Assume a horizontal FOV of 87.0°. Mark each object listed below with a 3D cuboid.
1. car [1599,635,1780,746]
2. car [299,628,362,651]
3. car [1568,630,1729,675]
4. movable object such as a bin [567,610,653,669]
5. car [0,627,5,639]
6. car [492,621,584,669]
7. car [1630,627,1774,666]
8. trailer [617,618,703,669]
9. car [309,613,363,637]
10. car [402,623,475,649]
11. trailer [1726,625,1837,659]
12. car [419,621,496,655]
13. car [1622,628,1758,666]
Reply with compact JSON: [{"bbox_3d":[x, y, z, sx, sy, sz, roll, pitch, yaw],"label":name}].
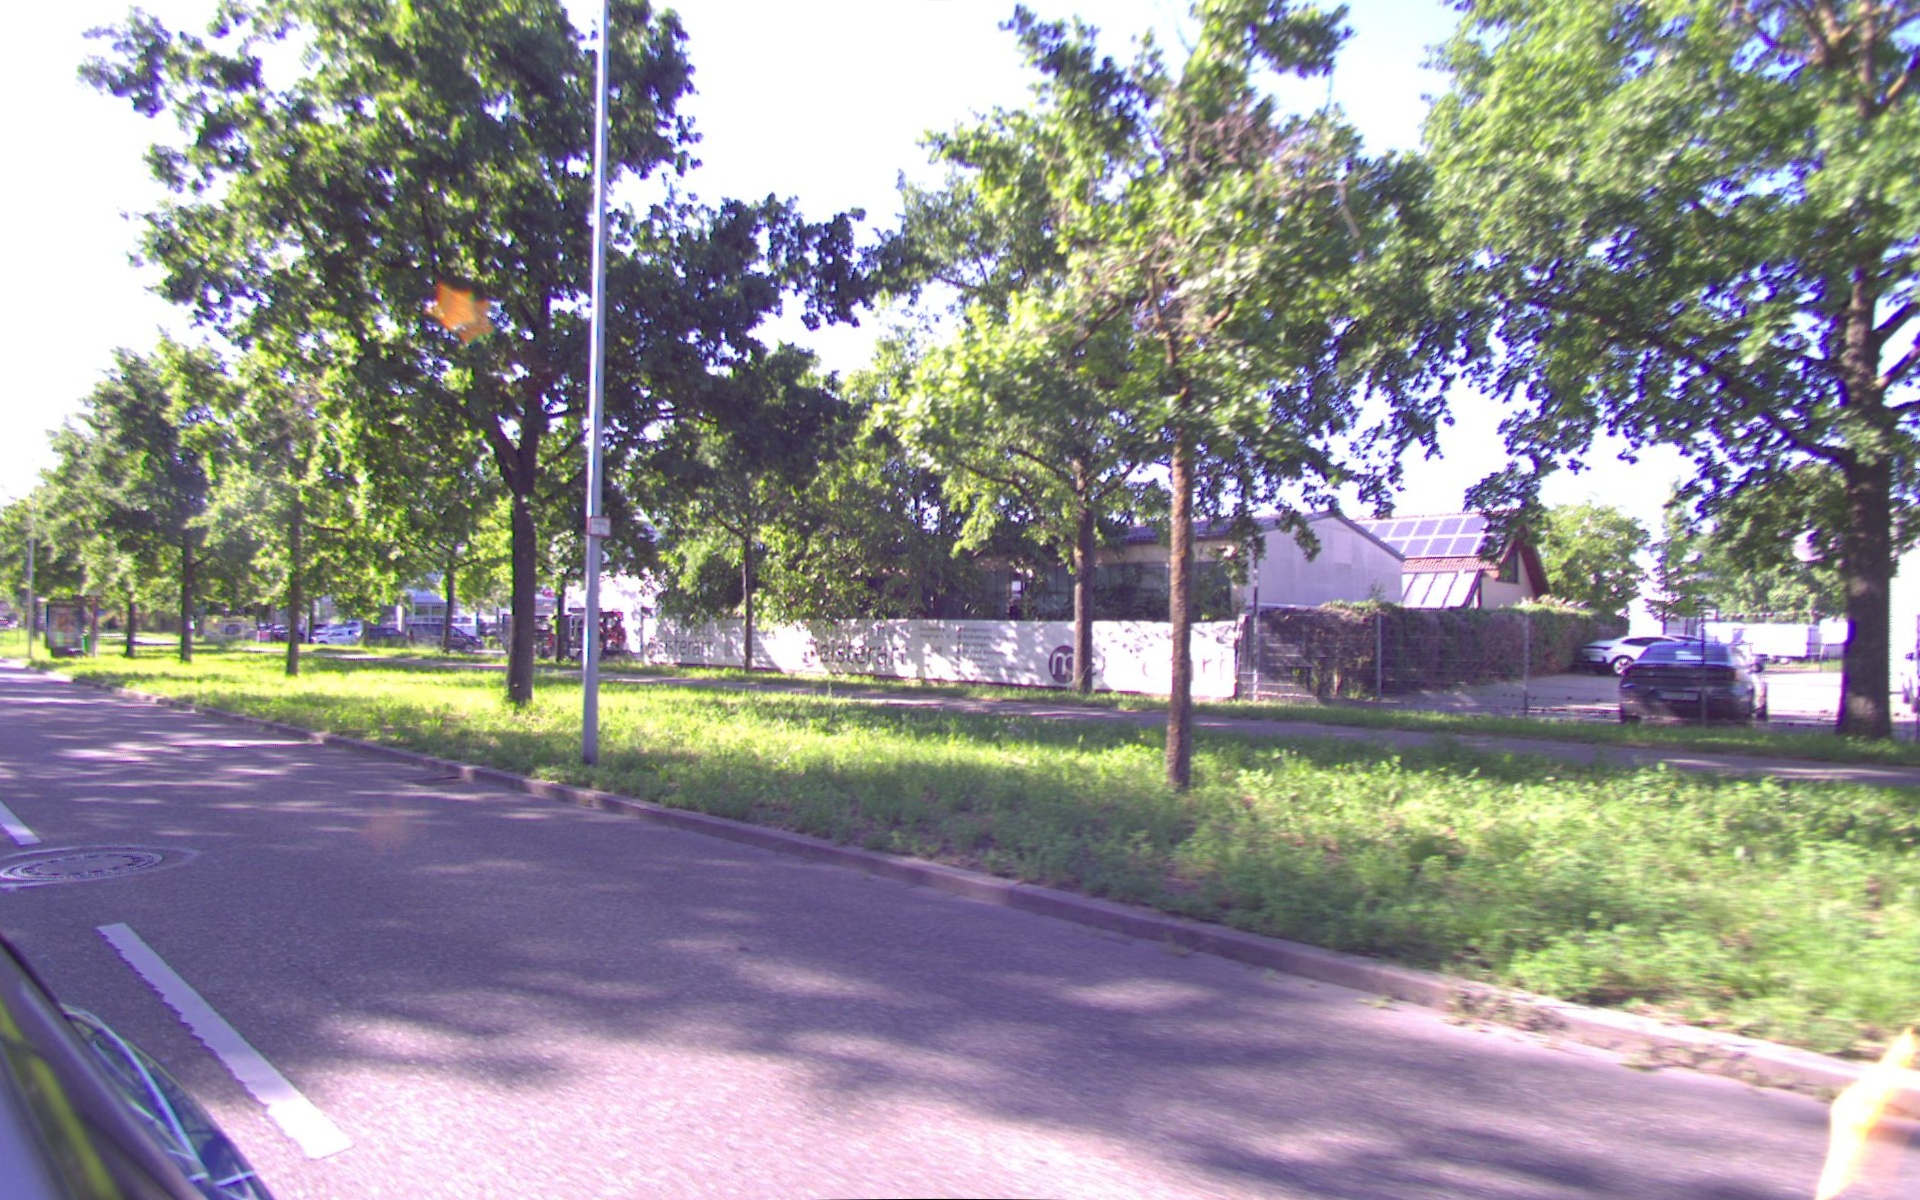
[{"bbox_3d":[12.822,1.464,17.697,2.198,1.530,3.945,-1,0,41],"label":"car"},{"bbox_3d":[-46.729,2.936,75.196,3.827,1.513,2.006,-1,0,-27],"label":"car"},{"bbox_3d":[25.327,1.917,37.394,4.576,1.530,1.739,-1,0,15],"label":"car"},{"bbox_3d":[-16.022,1.729,46.251,4.236,2.535,1.972,-1,0,43],"label":"movable object such as a bin"},{"bbox_3d":[-159.079,5.396,167.078,1.969,2.029,4.005,1,-2,-41],"label":"car"},{"bbox_3d":[-20.713,2.150,49.503,5.670,2.191,1.972,-1,-2,43],"label":"car"},{"bbox_3d":[31.142,1.936,42.624,4.594,1.530,1.732,-1,0,26],"label":"car"},{"bbox_3d":[-12.526,1.780,42.187,3.965,2.029,1.734,-2,-2,44],"label":"trailer"},{"bbox_3d":[-52.312,2.070,84.878,1.973,1.851,3.998,-1,0,2],"label":"car"},{"bbox_3d":[-40.613,2.759,79.008,4.963,1.851,2.007,-1,0,-25],"label":"car"},{"bbox_3d":[52.123,2.633,64.383,1.966,2.029,5.215,1,-2,-18],"label":"trailer"},{"bbox_3d":[-30.629,2.318,61.802,3.931,2.029,2.006,1,-2,-18],"label":"car"},{"bbox_3d":[32.193,2.050,44.780,4.594,1.530,1.732,-1,0,26],"label":"car"}]
